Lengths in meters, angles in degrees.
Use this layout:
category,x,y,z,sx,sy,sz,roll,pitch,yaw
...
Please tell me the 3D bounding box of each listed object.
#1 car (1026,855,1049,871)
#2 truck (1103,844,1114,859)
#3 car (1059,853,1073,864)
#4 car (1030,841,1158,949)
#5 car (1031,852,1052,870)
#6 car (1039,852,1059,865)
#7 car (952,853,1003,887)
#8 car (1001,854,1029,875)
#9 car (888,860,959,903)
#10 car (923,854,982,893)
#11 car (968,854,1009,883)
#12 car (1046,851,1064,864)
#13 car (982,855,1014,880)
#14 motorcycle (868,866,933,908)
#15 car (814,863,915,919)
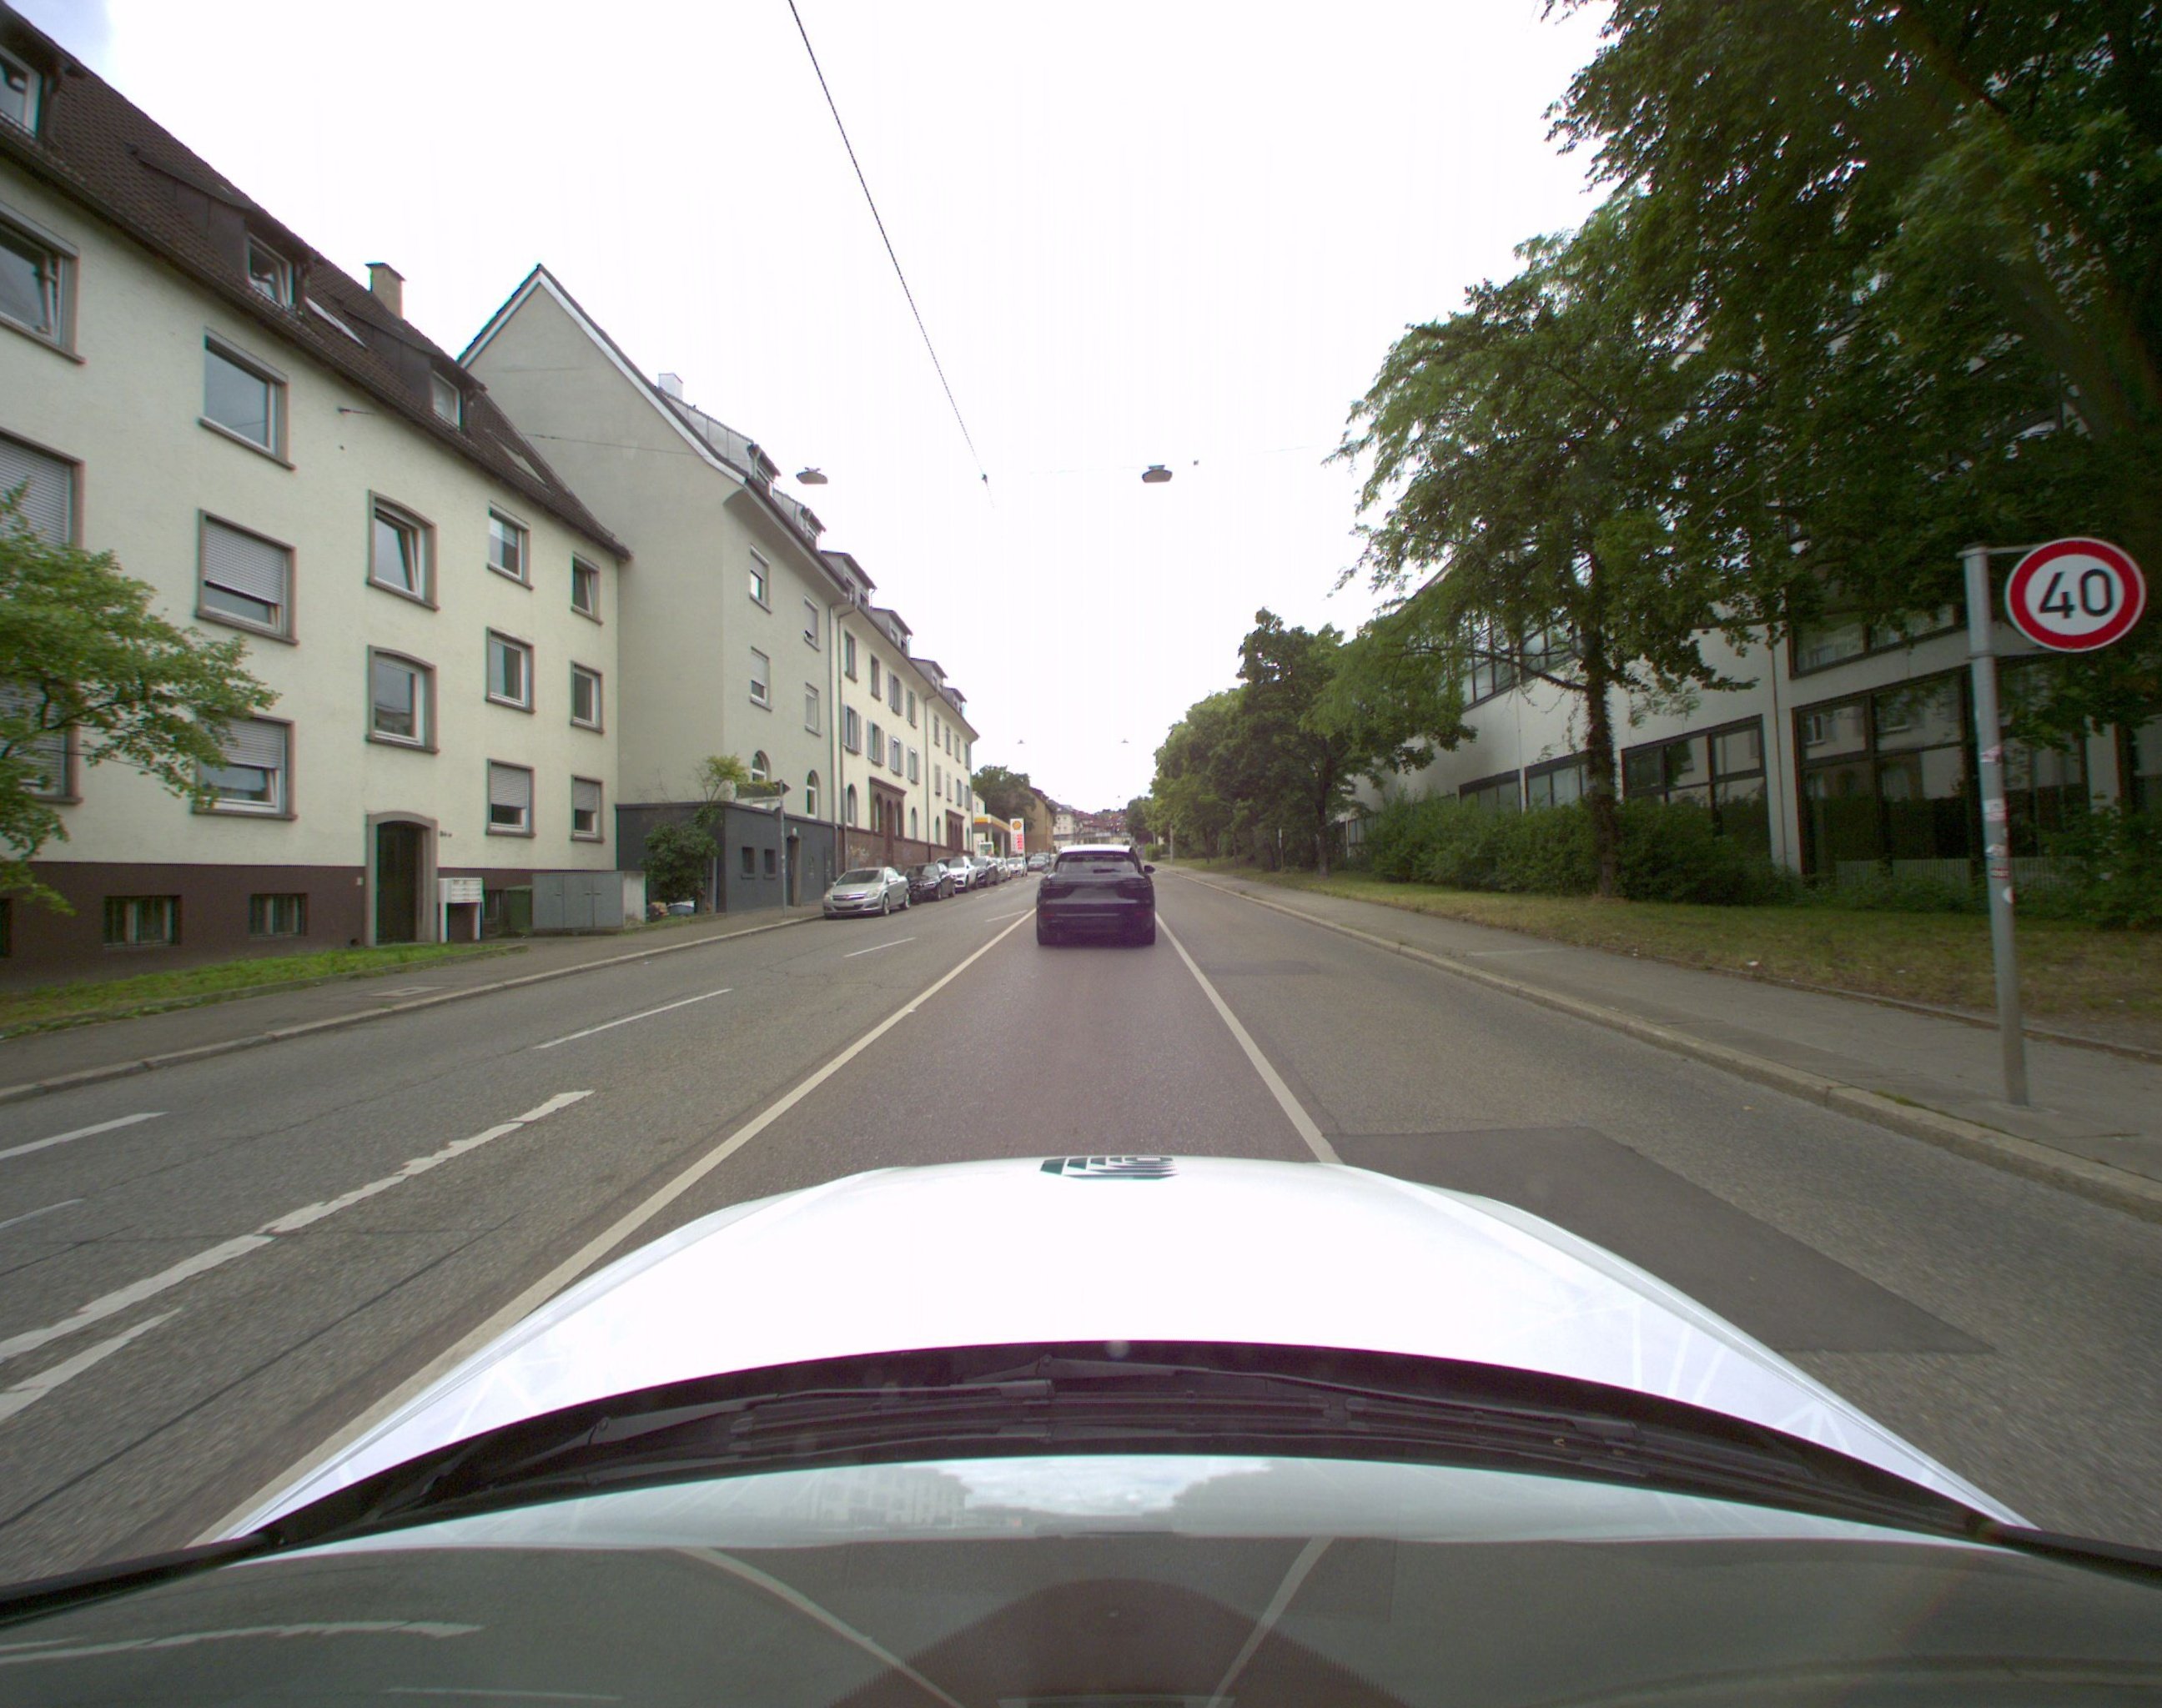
category,x,y,z,sx,sy,sz,roll,pitch,yaw
car,-4.245,0.895,80.465,1.784,1.450,4.220,-3,0,2
truck,6.392,-0.597,189.077,2.258,3.424,9.882,-2,0,2
car,-2.397,0.633,128.655,1.775,1.609,4.268,-4,0,3
car,0.288,0.621,14.741,1.986,1.662,4.003,-1,0,2
car,-4.117,0.716,86.244,1.845,1.835,4.702,-3,0,0
car,-3.820,0.530,97.443,1.789,1.431,4.749,-3,0,4
car,-5.403,0.809,42.921,1.719,1.599,4.507,-2,0,4
car,-5.007,0.773,62.358,1.613,1.425,3.667,-2,0,2
car,-5.981,0.988,31.344,1.720,1.429,4.193,-2,0,2
car,-5.850,0.848,37.662,1.839,1.621,4.644,-2,0,1
car,-5.401,0.827,48.111,1.721,1.558,4.082,-4,0,1
car,-3.391,0.424,106.786,1.907,1.577,4.703,-2,0,3
car,-5.390,0.841,53.047,1.542,1.475,3.605,-2,0,2
motorcycle,-6.148,1.109,27.681,2.044,1.235,0.803,-4,0,-16
car,-6.255,1.029,24.075,1.721,1.374,4.338,-2,0,1
